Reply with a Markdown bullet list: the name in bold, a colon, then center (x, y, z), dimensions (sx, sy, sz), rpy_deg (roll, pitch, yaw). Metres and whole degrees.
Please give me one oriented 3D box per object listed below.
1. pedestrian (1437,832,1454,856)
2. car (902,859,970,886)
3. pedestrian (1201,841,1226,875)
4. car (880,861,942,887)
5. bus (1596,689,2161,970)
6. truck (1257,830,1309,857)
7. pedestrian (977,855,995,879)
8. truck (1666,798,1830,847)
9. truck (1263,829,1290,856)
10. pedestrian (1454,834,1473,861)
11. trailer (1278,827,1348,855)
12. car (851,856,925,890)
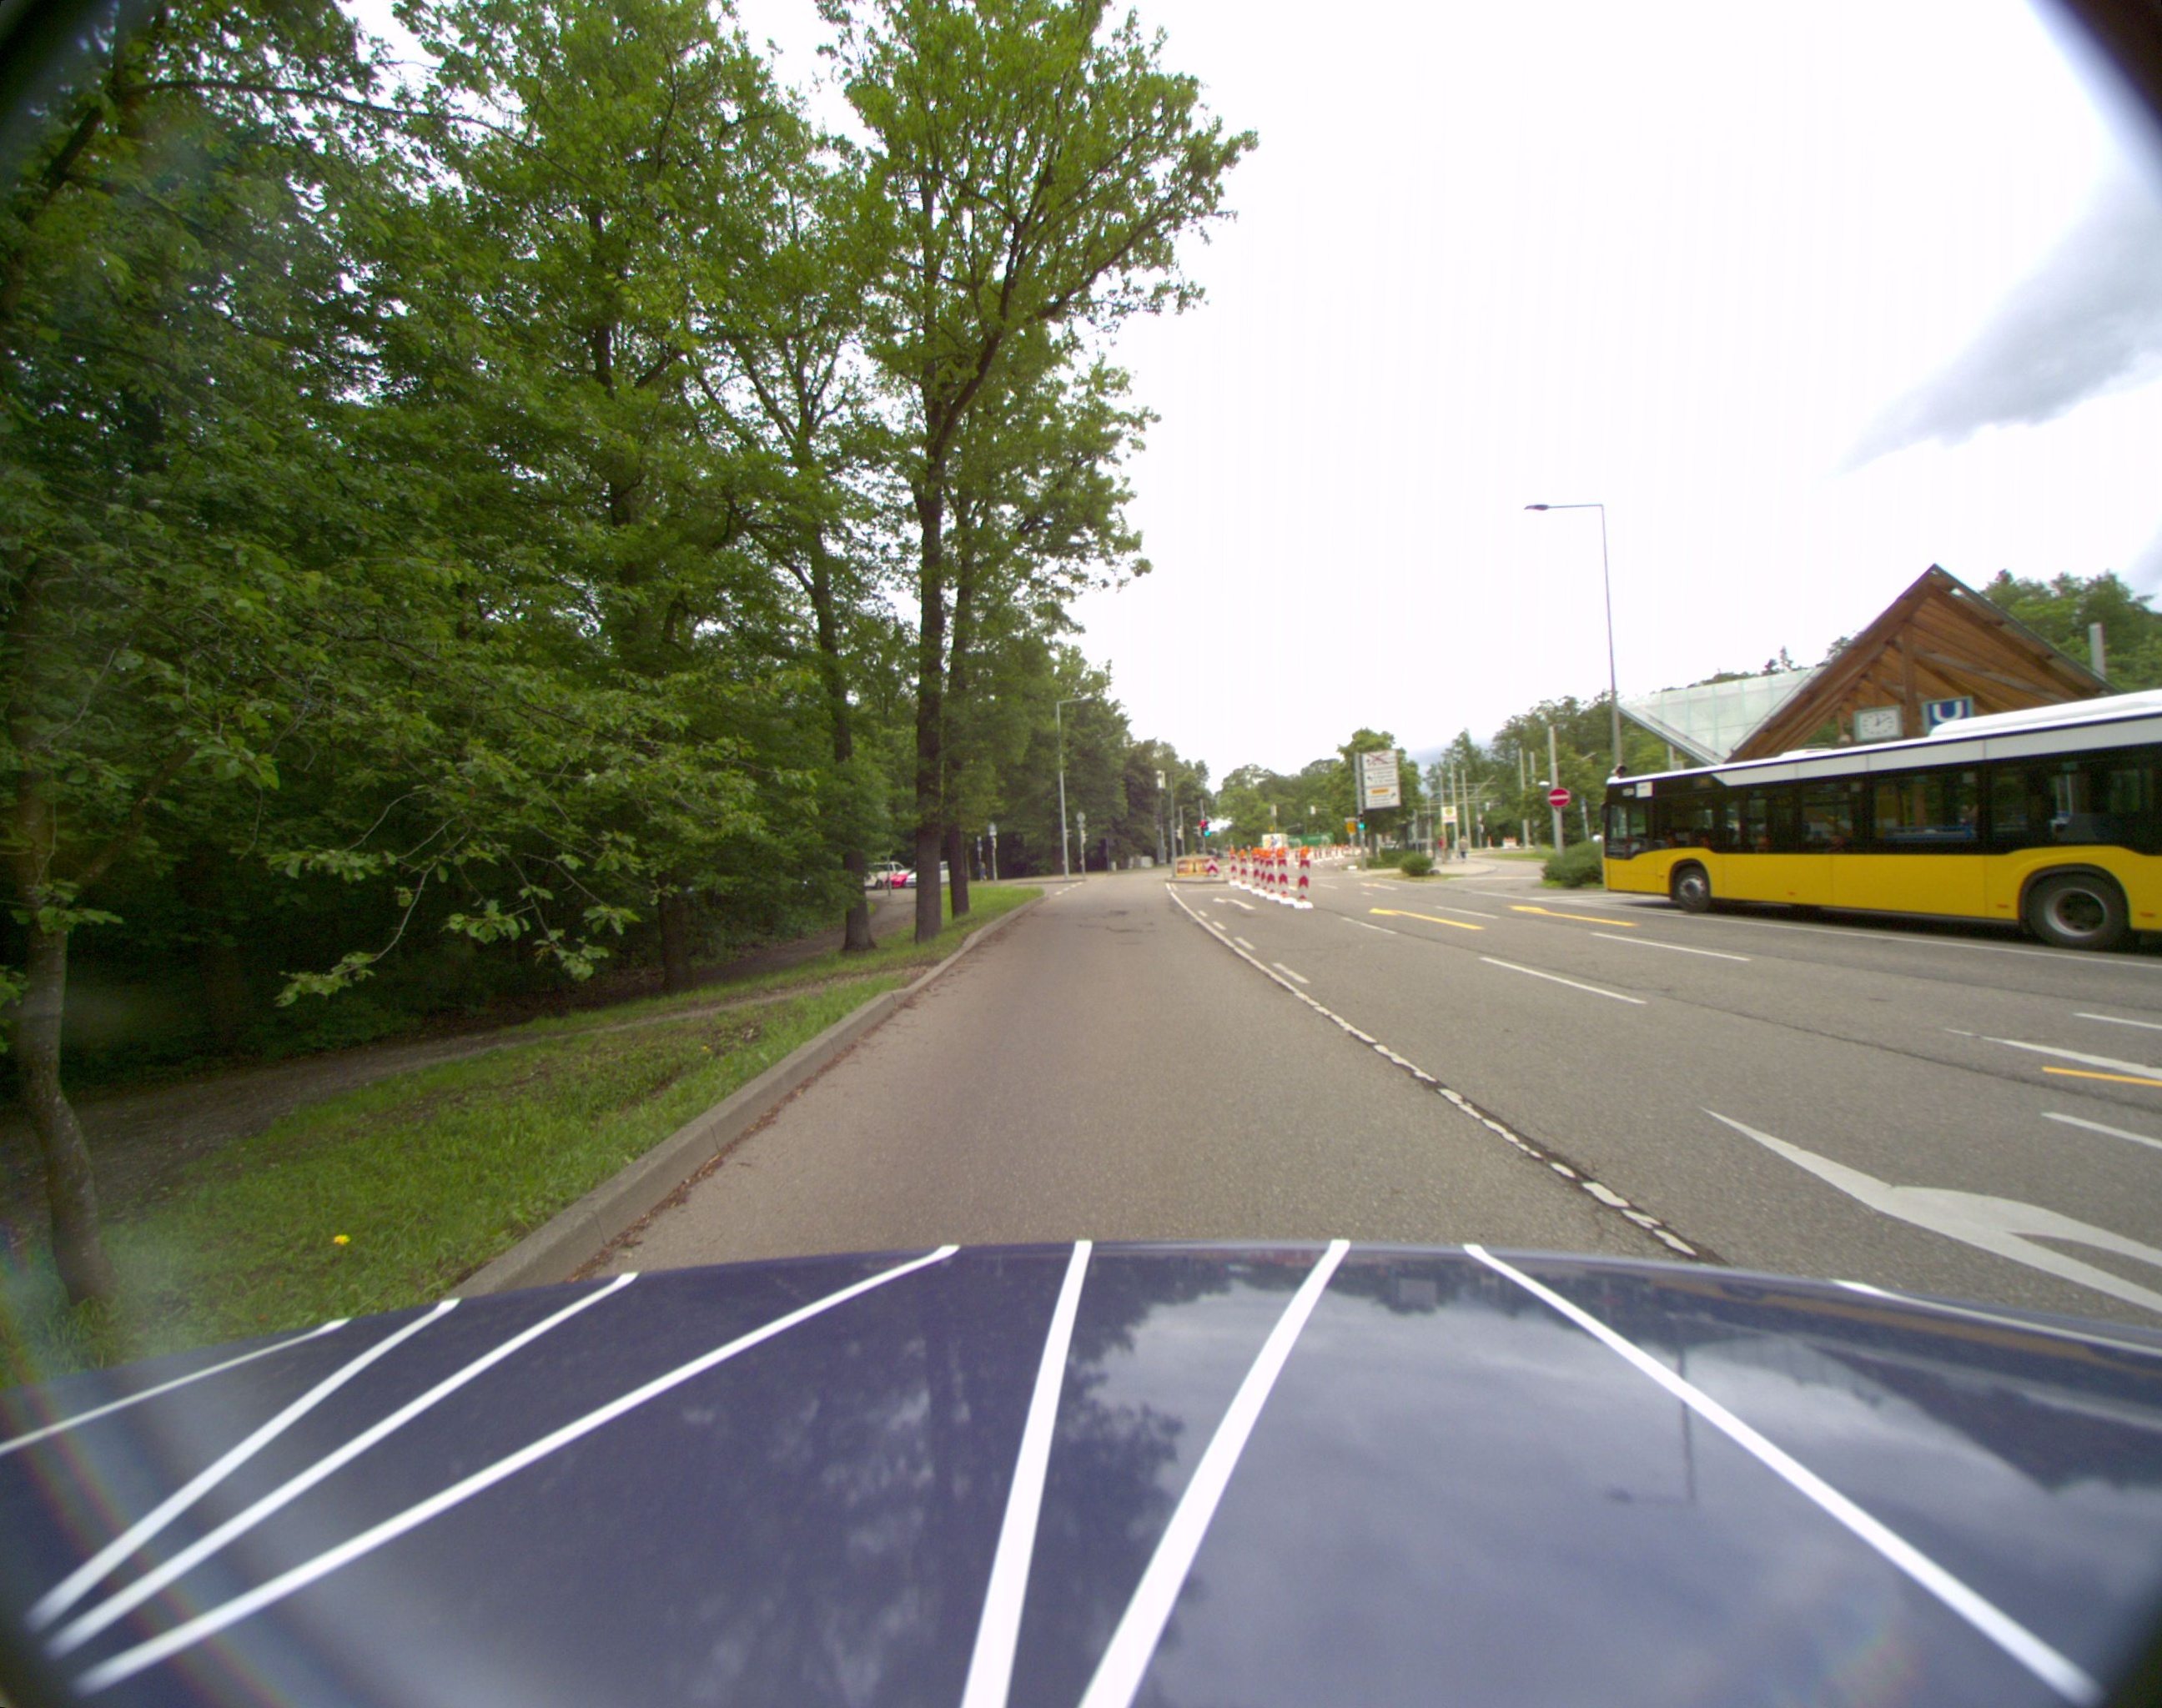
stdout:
- **pedestrian**: center (24.146, -0.647, 50.325), dimensions (0.791, 1.542, 0.776), rpy_deg (-4, 0, 12)
- **car**: center (-10.087, 1.272, 53.058), dimensions (1.995, 1.543, 4.429), rpy_deg (-4, -1, 35)
- **pedestrian**: center (7.380, 0.240, 42.375), dimensions (0.995, 1.798, 0.765), rpy_deg (-4, 0, -19)
- **car**: center (-12.164, 1.397, 54.460), dimensions (1.890, 1.543, 4.007), rpy_deg (-4, 0, 35)
- **bus**: center (13.488, -0.342, 12.910), dimensions (2.906, 3.109, 9.759), rpy_deg (-2, 0, 1)
- **truck**: center (34.778, -1.769, 131.427), dimensions (3.792, 3.858, 8.757), rpy_deg (-4, 0, -25)
- **pedestrian**: center (-6.812, 0.926, 54.562), dimensions (1.094, 1.666, 0.910), rpy_deg (-3, 1, -16)
- **truck**: center (36.728, -1.671, 42.165), dimensions (2.609, 2.157, 6.295), rpy_deg (-4, 0, -17)
- **truck**: center (25.030, -1.473, 96.910), dimensions (2.631, 3.219, 6.215), rpy_deg (-1, 1, 20)
- **pedestrian**: center (22.434, -0.394, 44.588), dimensions (0.874, 1.516, 0.769), rpy_deg (-4, 0, 25)
- **trailer**: center (37.831, -2.064, 124.561), dimensions (3.792, 3.858, 11.848), rpy_deg (-4, 0, -25)
- **car**: center (-14.130, 1.371, 56.042), dimensions (2.058, 1.946, 5.191), rpy_deg (-4, 1, 32)
